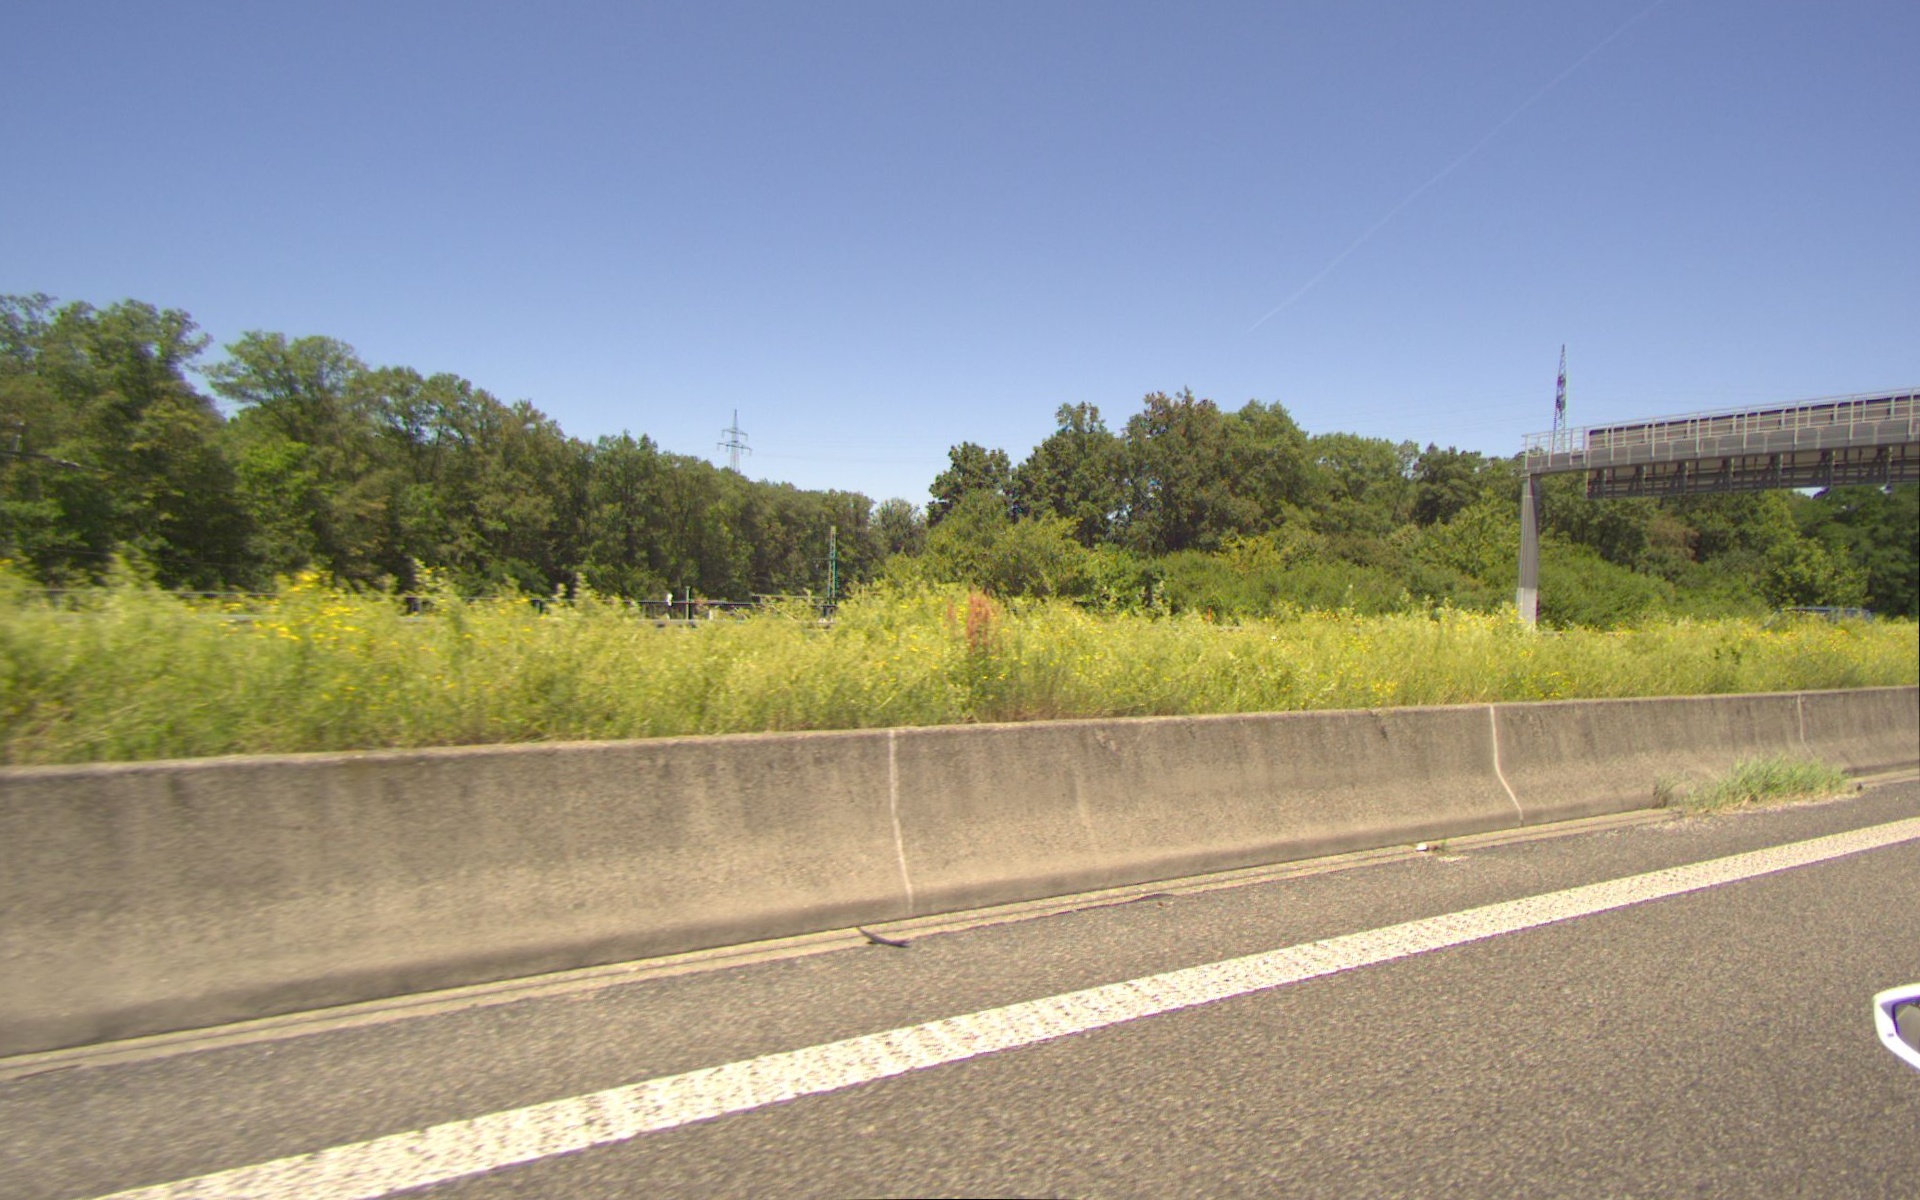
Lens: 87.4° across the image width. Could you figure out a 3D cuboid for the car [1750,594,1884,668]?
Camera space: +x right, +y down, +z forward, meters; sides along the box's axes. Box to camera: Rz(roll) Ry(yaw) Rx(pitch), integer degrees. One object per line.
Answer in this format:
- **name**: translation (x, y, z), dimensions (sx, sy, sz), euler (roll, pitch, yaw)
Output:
- **car**: translation (25.831, 0.907, 30.245), dimensions (3.953, 2.085, 1.765), euler (1, 0, -29)
